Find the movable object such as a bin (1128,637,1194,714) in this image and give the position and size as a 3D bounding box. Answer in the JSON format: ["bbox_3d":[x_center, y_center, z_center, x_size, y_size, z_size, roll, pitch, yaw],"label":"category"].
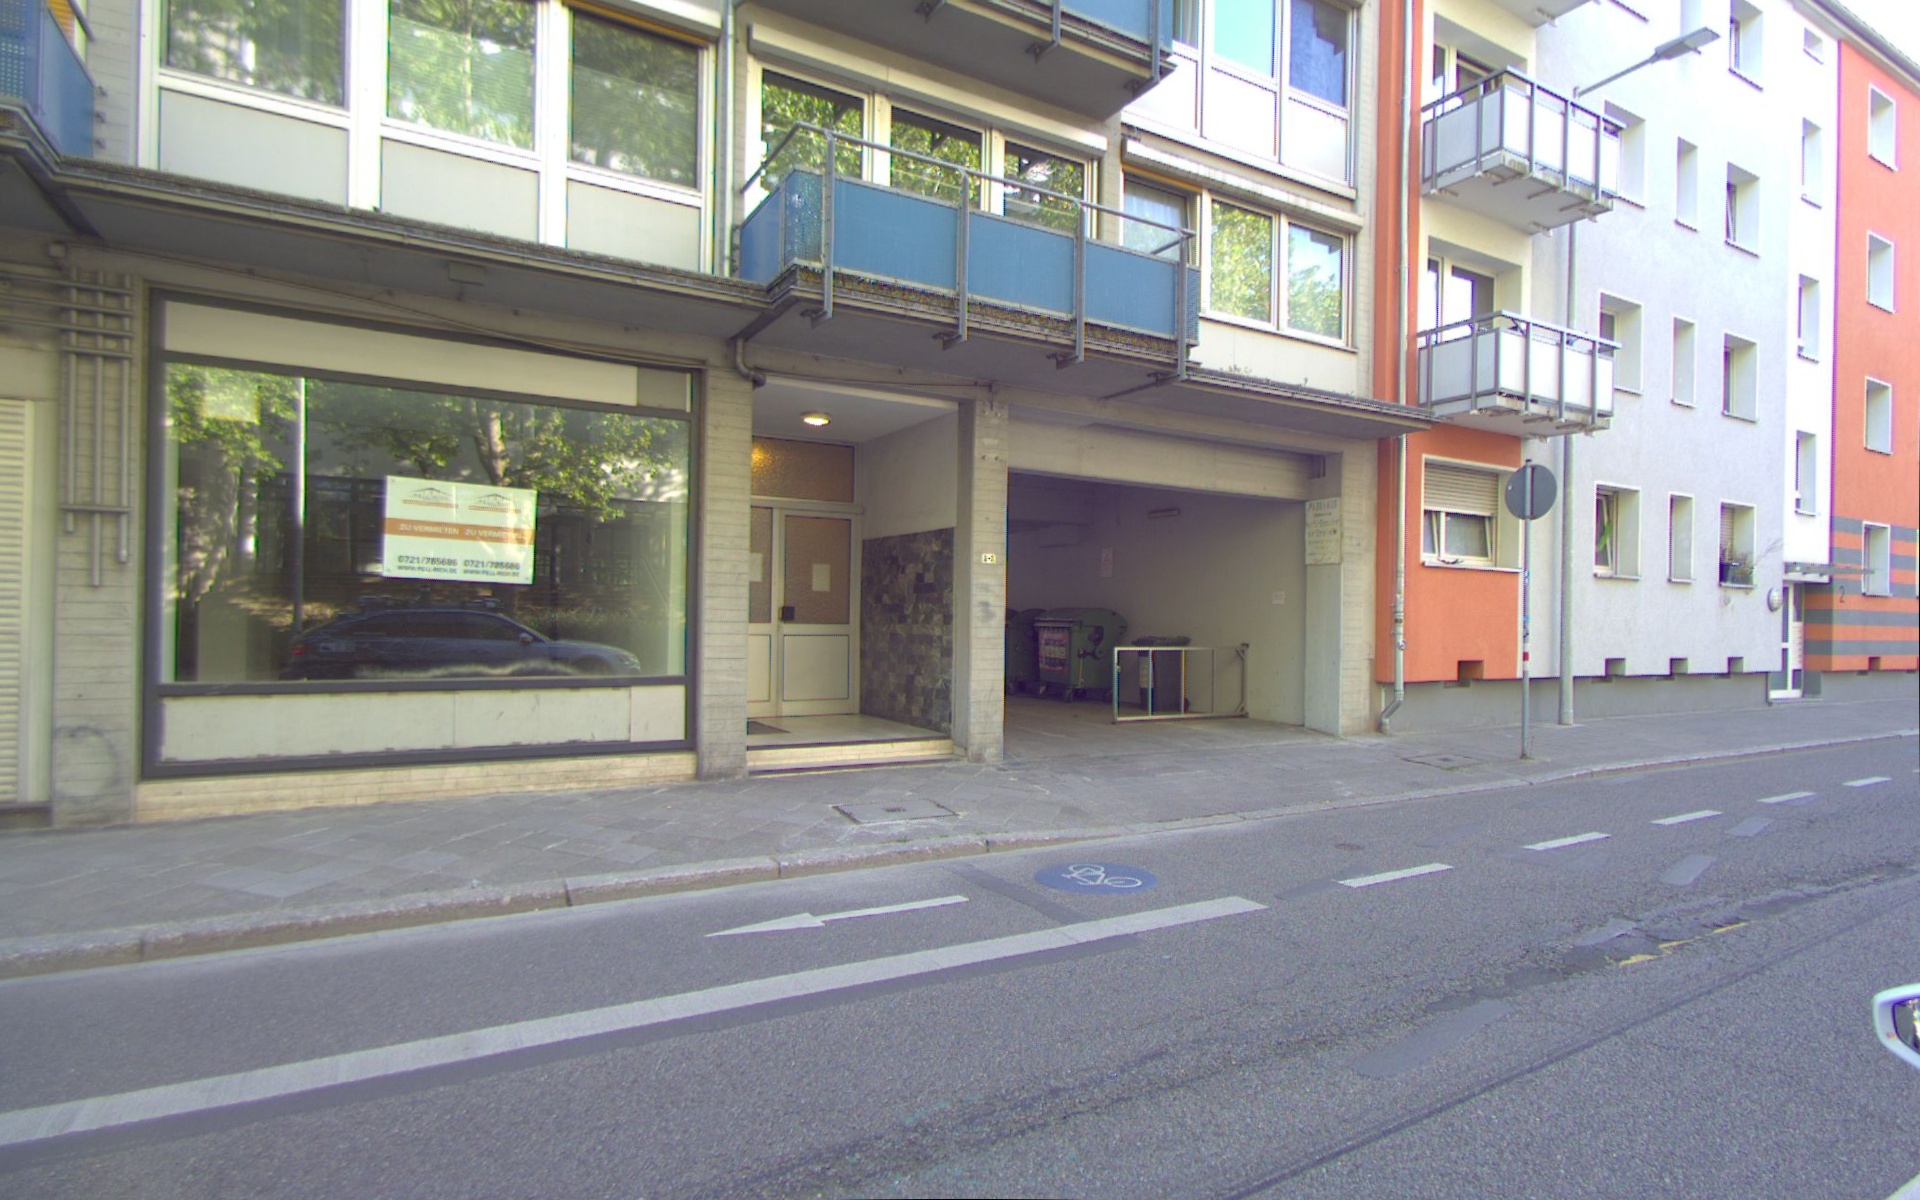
[{"bbox_3d":[2.905,1.082,14.536,0.695,1.055,0.593,2,0,-30],"label":"movable object such as a bin"}]

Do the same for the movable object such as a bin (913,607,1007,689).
[{"bbox_3d":[-0.024,0.875,18.880,1.119,1.449,1.666,1,-1,-28],"label":"movable object such as a bin"}]

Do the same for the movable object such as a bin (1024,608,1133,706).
[{"bbox_3d":[1.855,0.870,15.854,1.128,1.449,1.342,1,0,-28],"label":"movable object such as a bin"}]

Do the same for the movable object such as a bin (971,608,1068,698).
[{"bbox_3d":[1.004,0.877,17.177,1.119,1.449,1.322,1,0,-28],"label":"movable object such as a bin"}]
